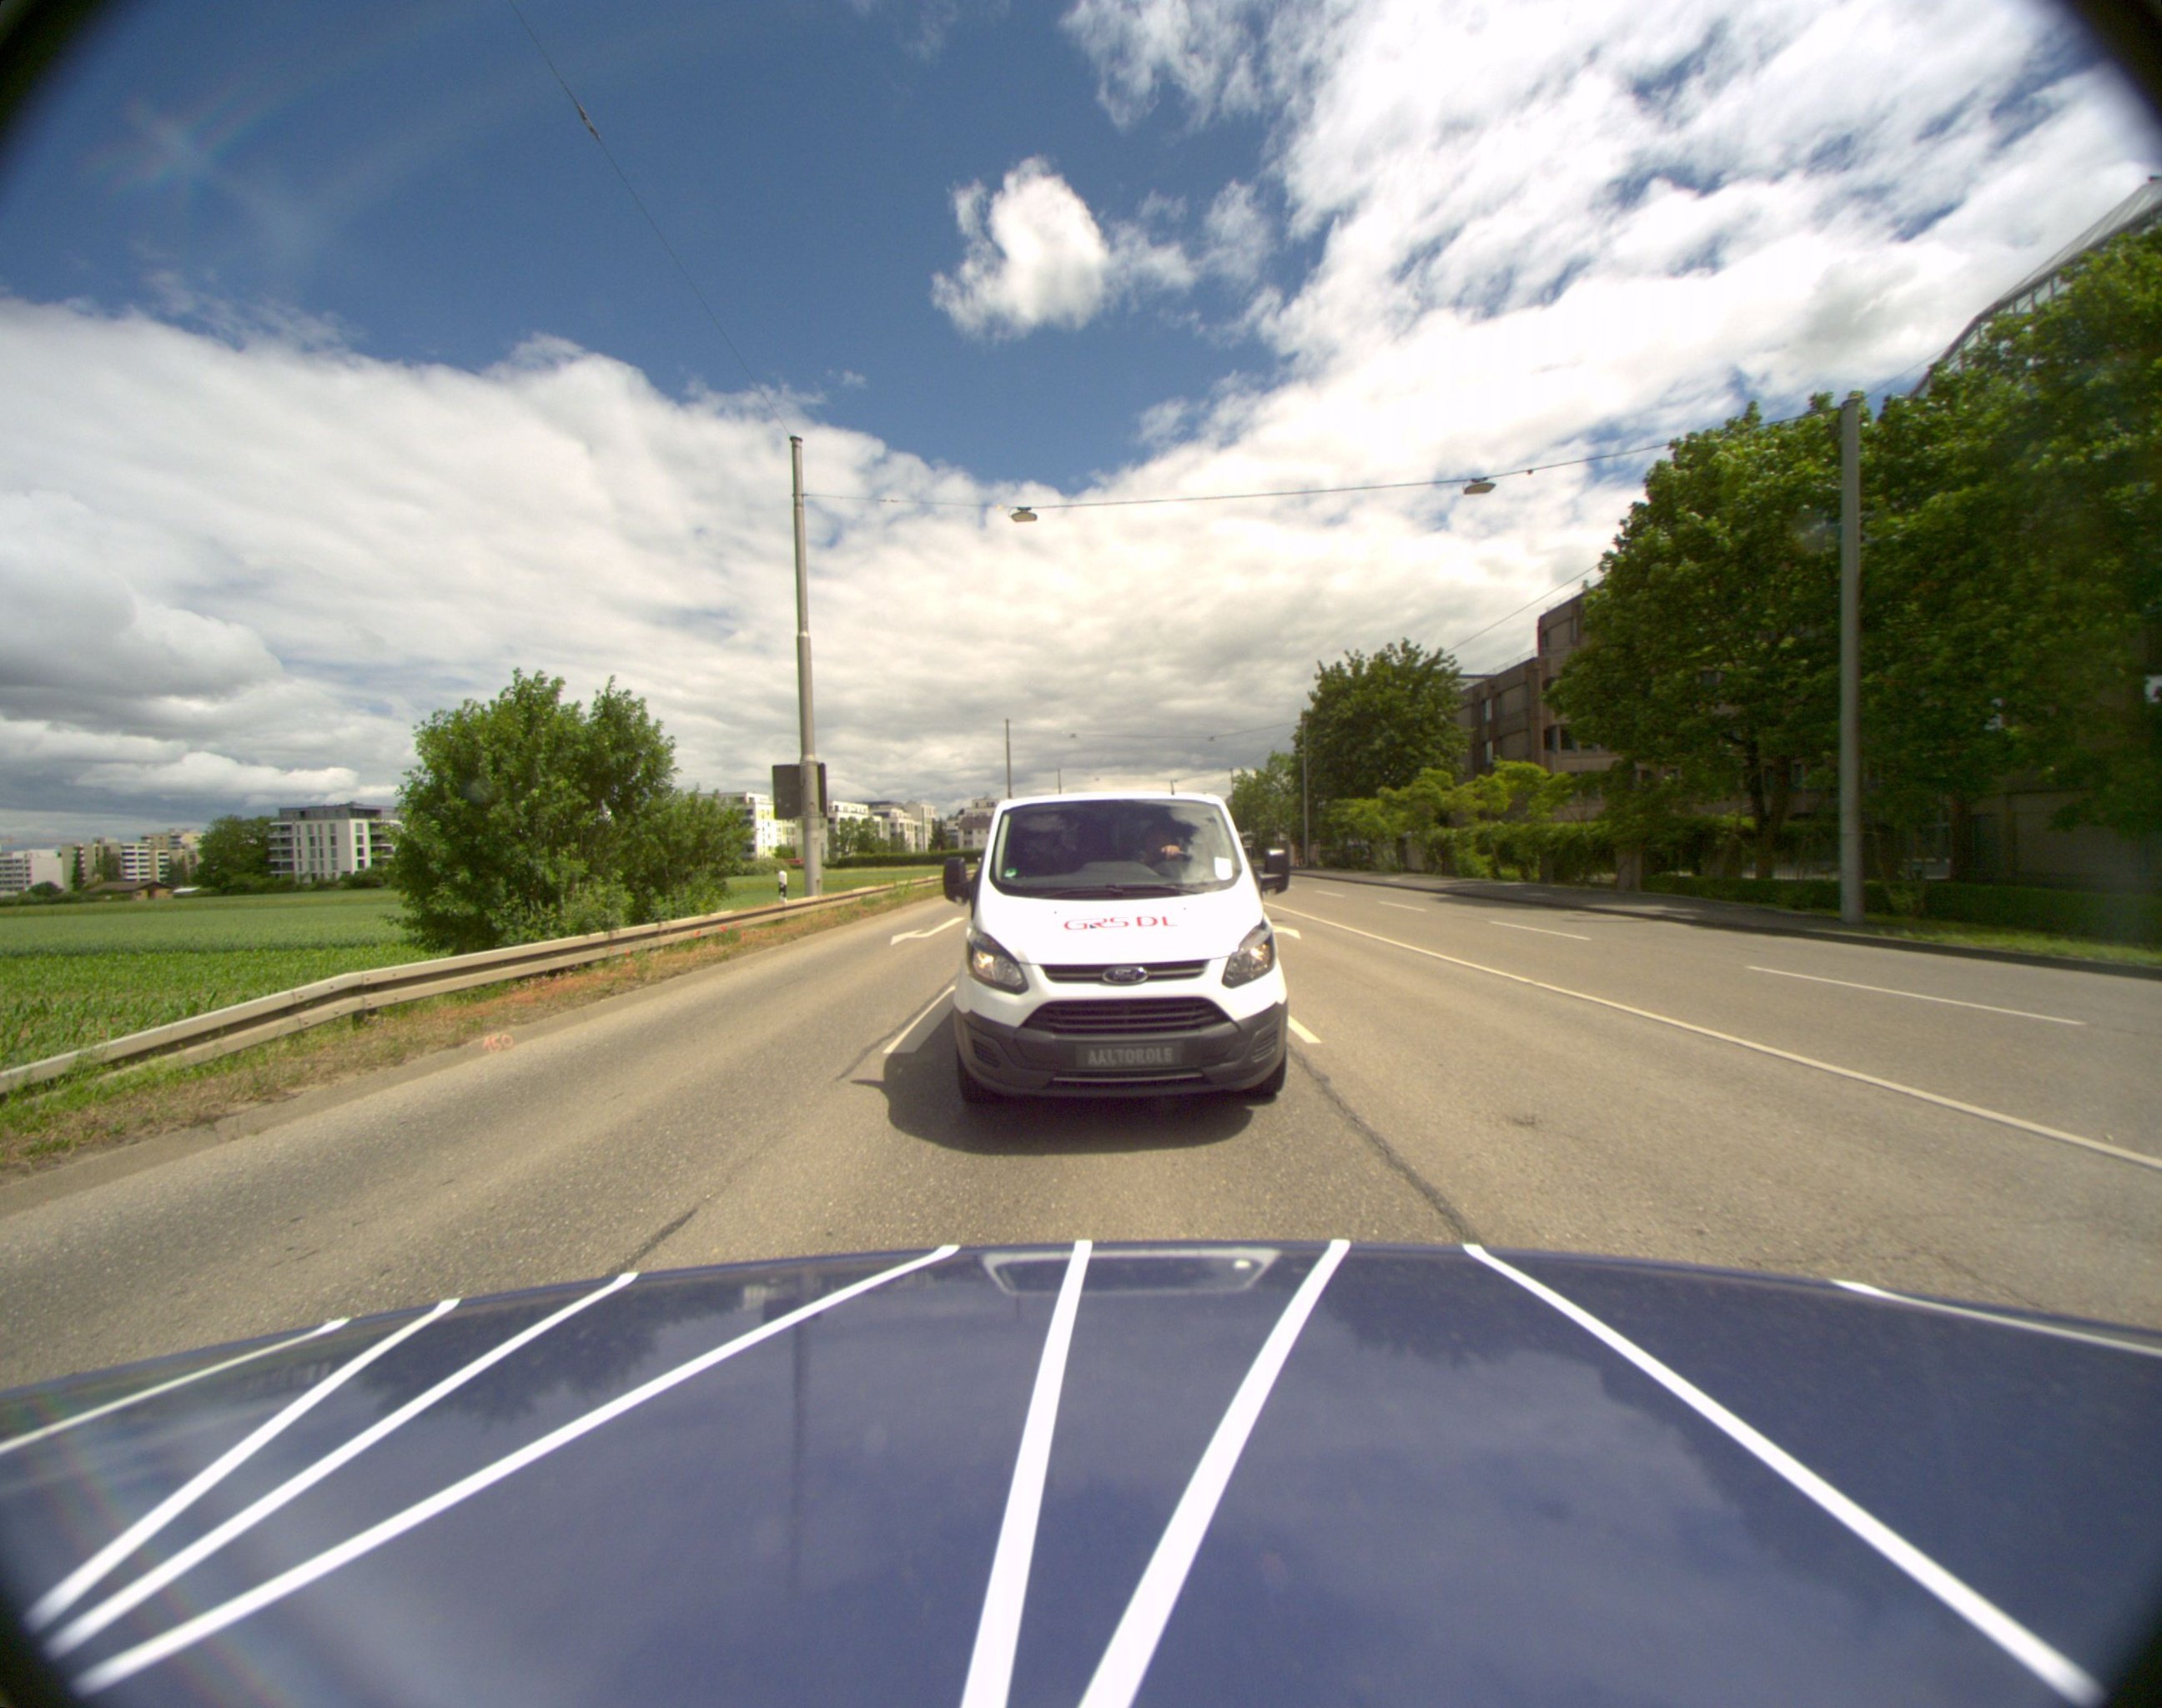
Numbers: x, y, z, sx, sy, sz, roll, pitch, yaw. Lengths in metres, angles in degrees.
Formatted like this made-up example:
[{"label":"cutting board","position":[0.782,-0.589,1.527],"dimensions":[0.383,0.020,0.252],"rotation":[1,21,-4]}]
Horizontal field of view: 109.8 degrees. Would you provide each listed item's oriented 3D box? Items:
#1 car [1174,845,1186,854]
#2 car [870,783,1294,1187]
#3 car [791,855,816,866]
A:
[{"label":"car","position":[18.054,-0.848,138.891],"dimensions":[1.872,1.606,4.571],"rotation":[-1,1,3]},{"label":"car","position":[0.207,0.635,6.586],"dimensions":[1.998,1.907,5.884],"rotation":[-1,0,4]},{"label":"car","position":[-56.896,1.372,155.819],"dimensions":[4.436,2.002,2.000],"rotation":[-1,1,2]}]
